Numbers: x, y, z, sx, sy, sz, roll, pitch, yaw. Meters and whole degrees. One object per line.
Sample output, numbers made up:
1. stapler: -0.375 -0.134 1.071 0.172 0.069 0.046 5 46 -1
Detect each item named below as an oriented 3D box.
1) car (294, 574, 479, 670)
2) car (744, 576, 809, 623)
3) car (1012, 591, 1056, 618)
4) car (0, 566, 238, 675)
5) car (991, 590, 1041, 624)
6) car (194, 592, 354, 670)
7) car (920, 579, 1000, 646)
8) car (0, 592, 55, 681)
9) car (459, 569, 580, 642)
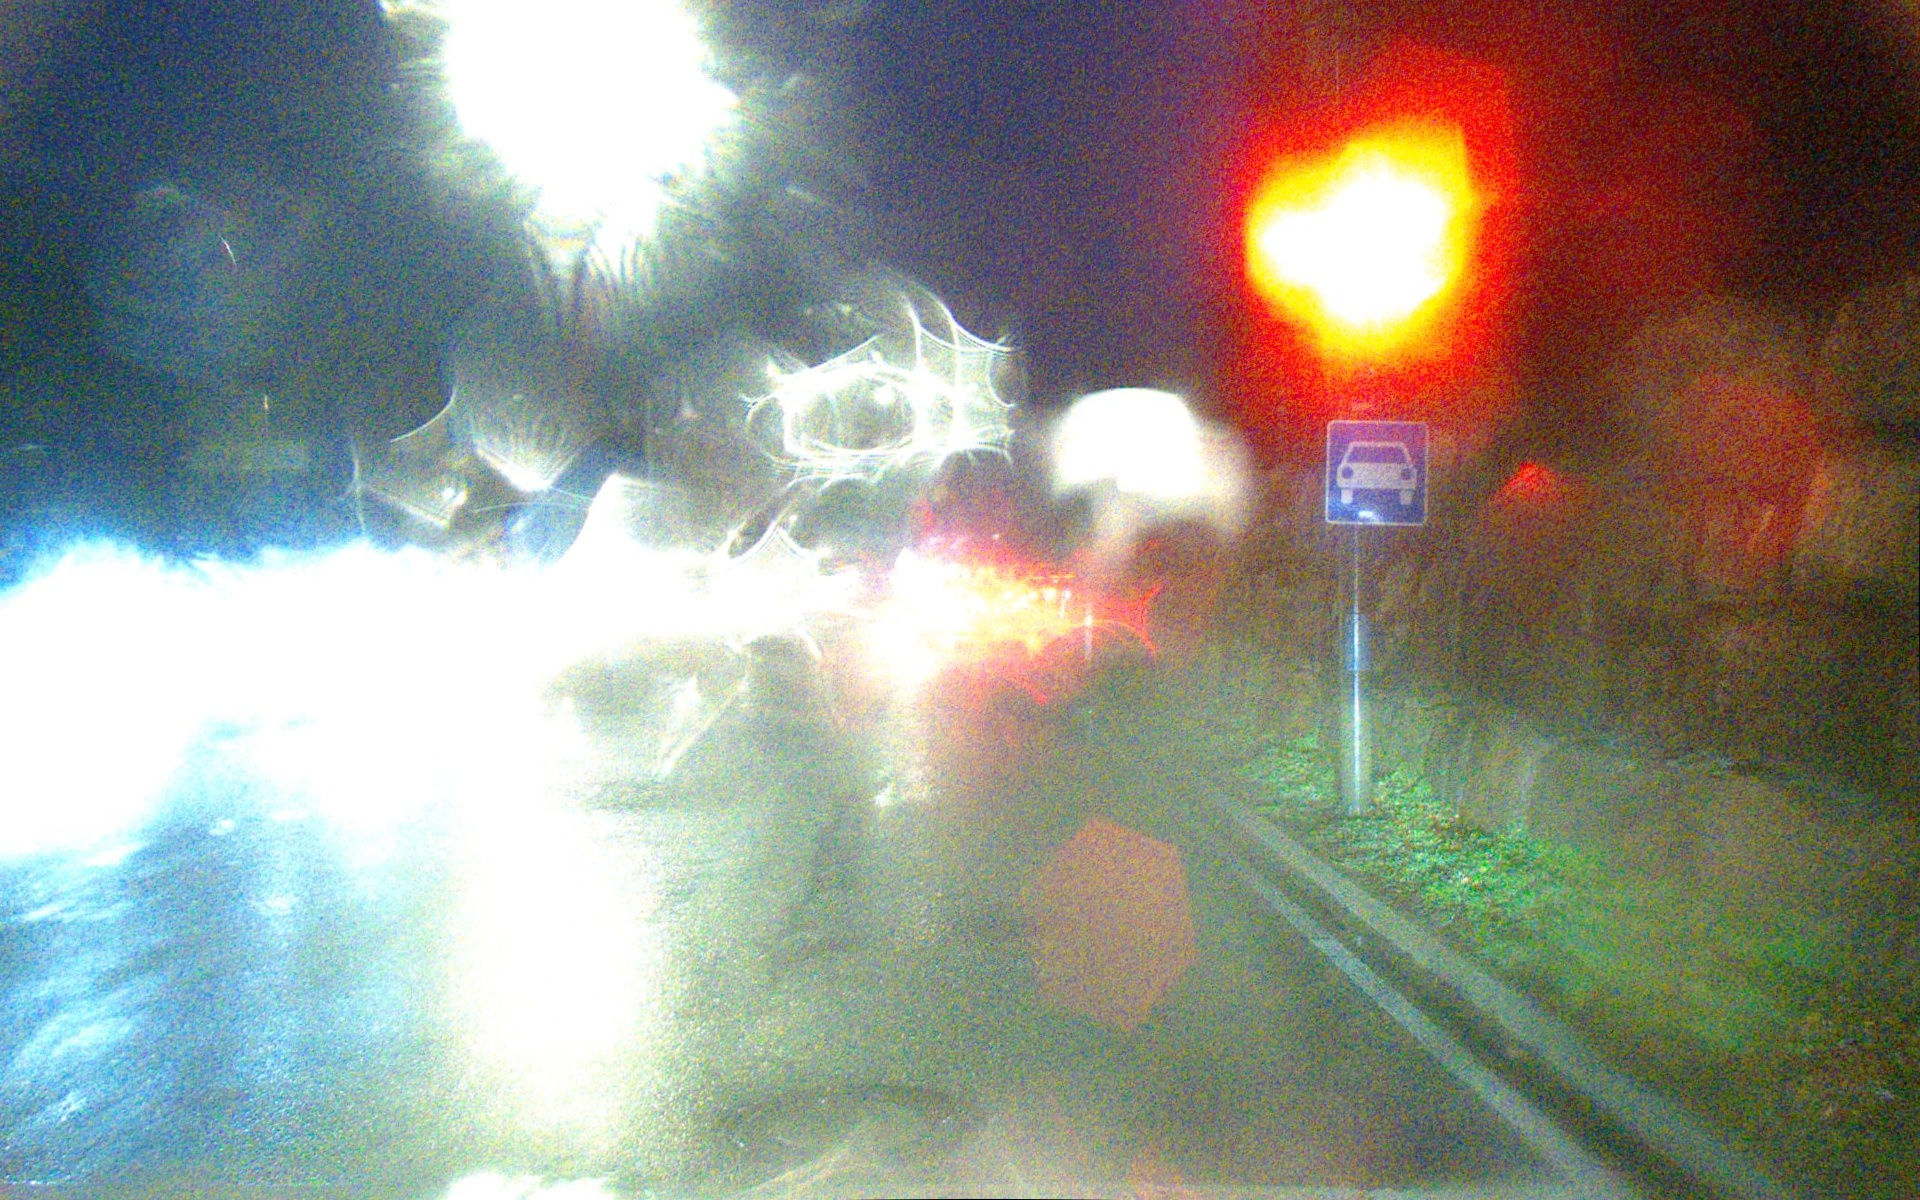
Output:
1. car: -10.250 0.362 29.944 1.664 1.599 4.712 0 0 1
2. car: -6.971 0.005 63.087 1.681 1.733 4.145 0 0 5
3. car: 3.834 0.232 85.919 2.064 1.363 4.293 0 -1 -1
4. car: -13.627 0.290 26.773 1.755 1.599 4.913 0 0 -1
5. car: 2.456 0.326 73.937 2.060 1.464 3.999 0 -1 -1
6. car: -13.731 0.602 33.322 1.634 1.479 3.728 0 -1 0
7. car: -0.029 0.331 42.776 1.953 1.639 4.102 0 -1 -1
8. car: -21.543 0.779 35.046 3.958 1.863 1.699 -1 1 -38
9. car: -9.821 0.144 37.092 1.552 1.552 3.653 0 -1 3
